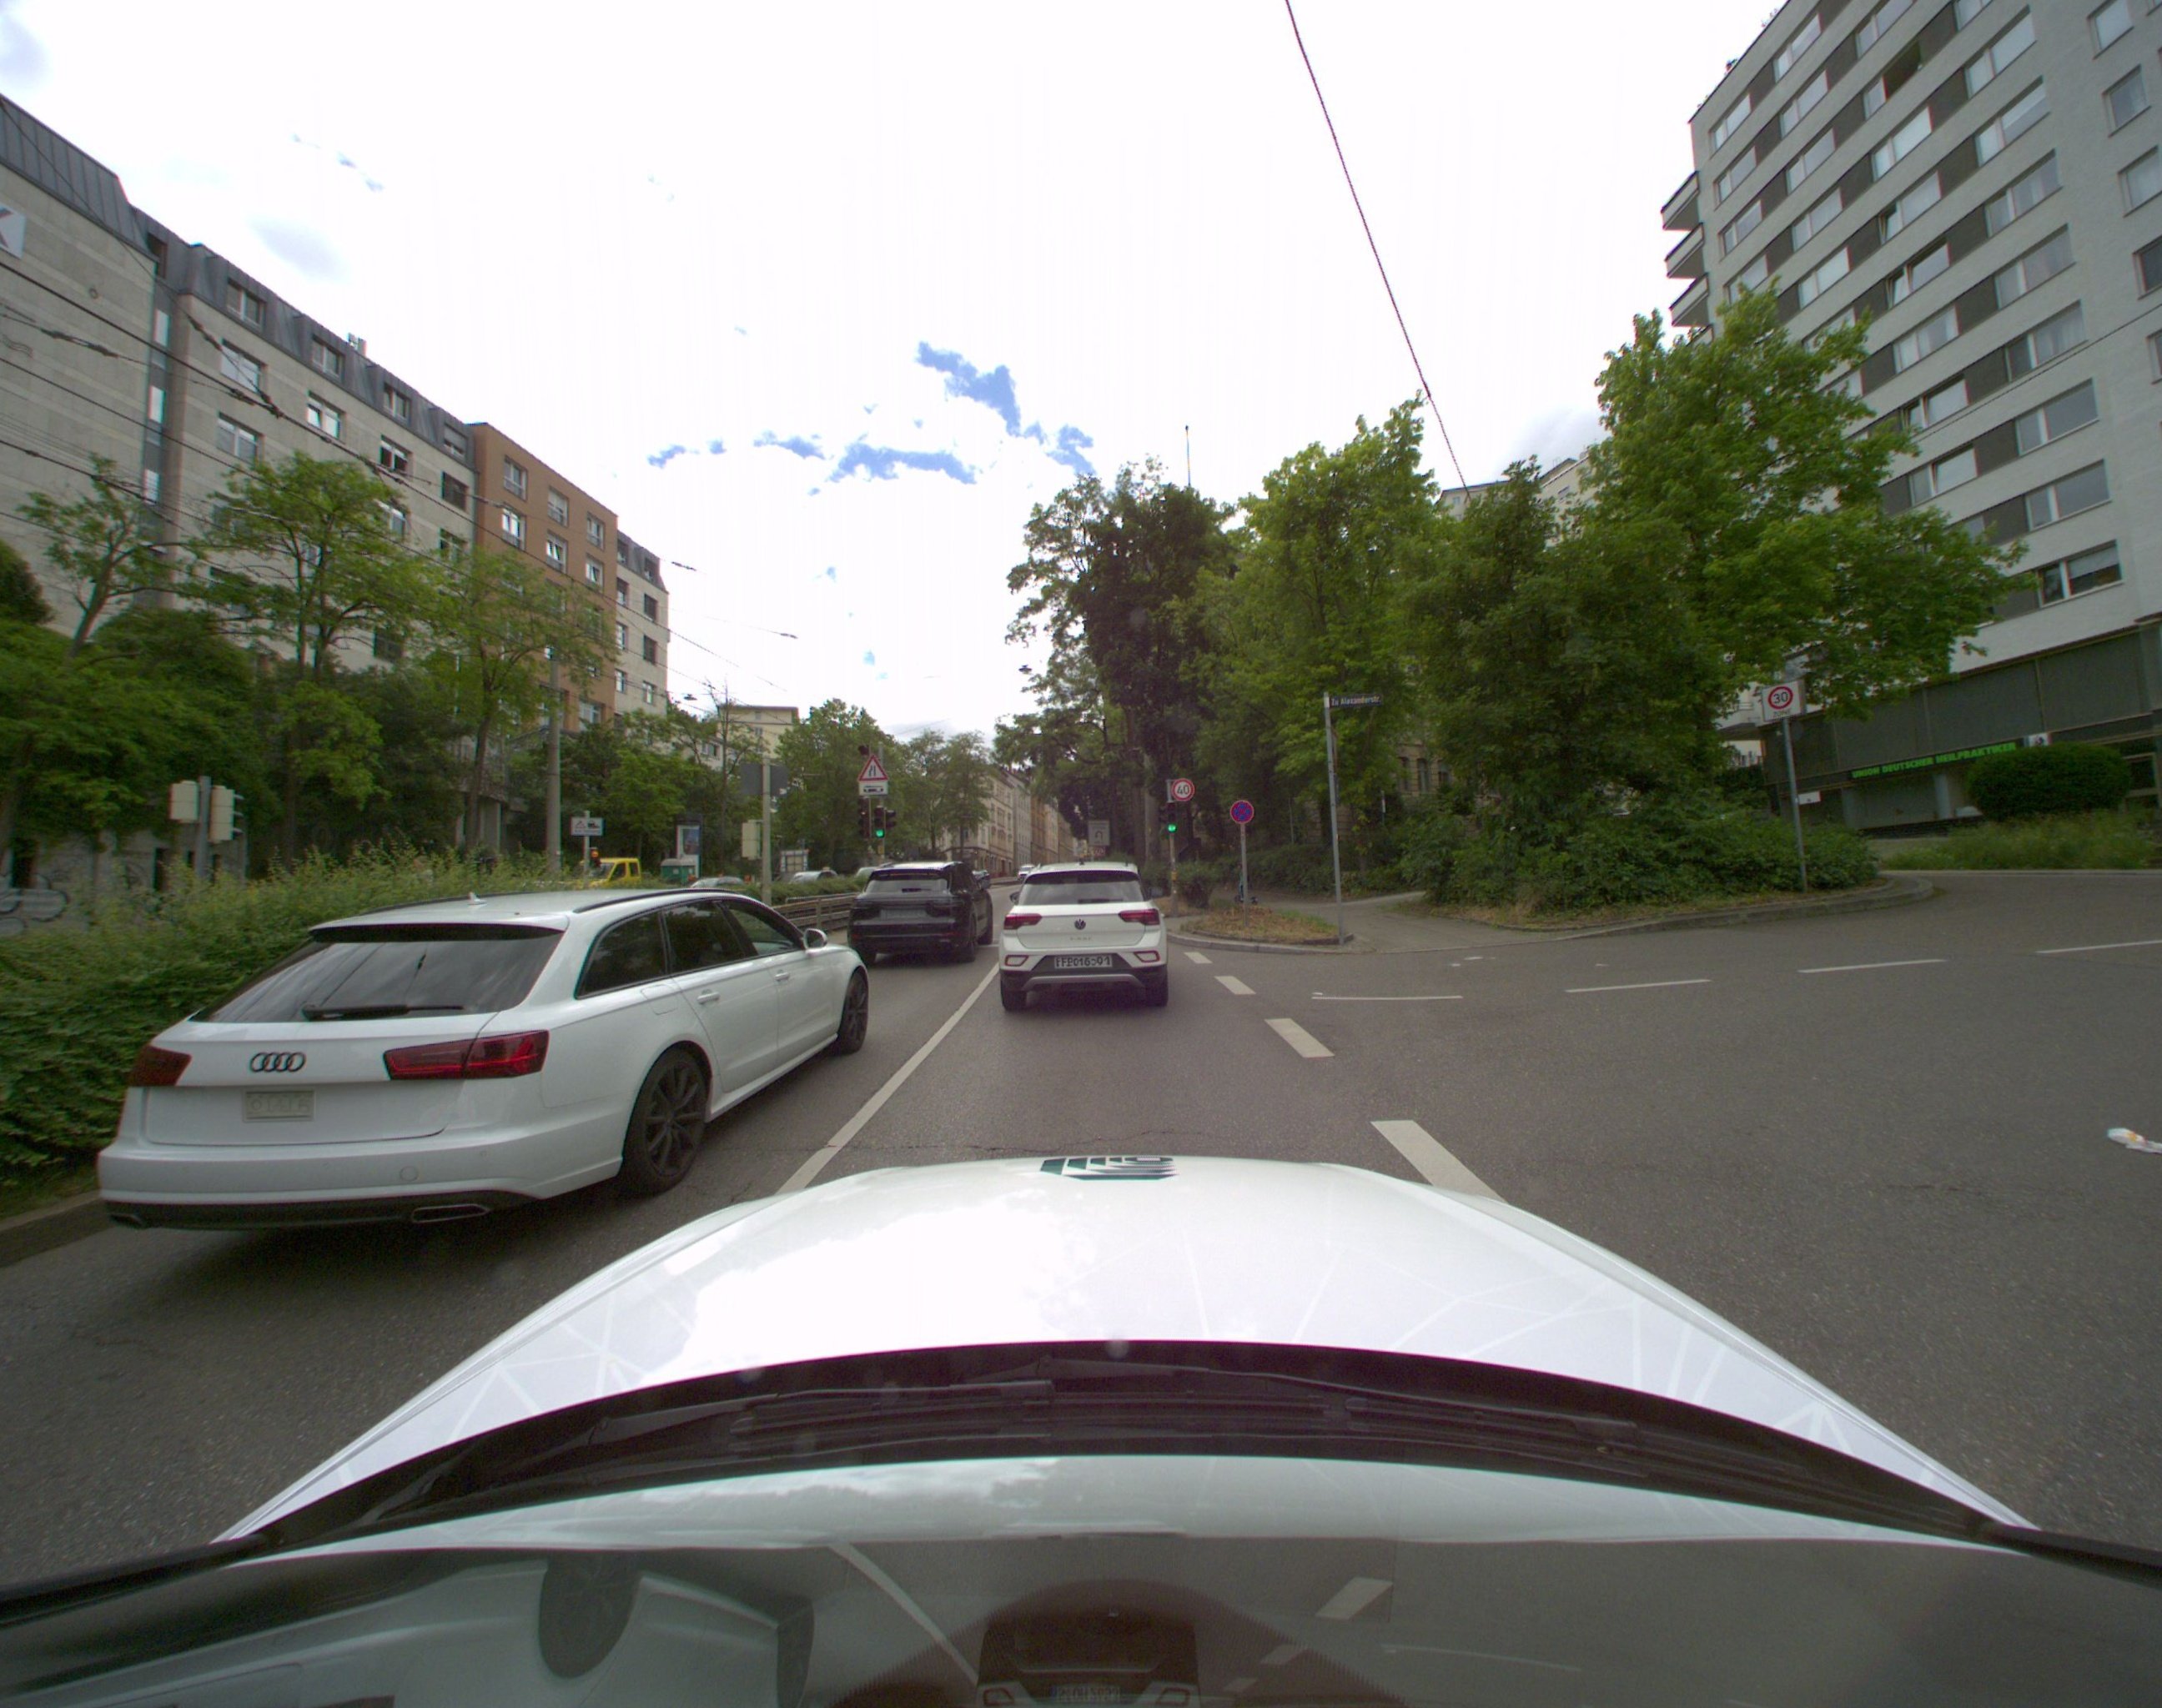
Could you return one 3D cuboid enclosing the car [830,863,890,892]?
[{"bbox_3d":[-13.611,1.401,50.450,1.983,1.605,4.618,-3,-1,7],"label":"car"}]

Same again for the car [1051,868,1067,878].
[{"bbox_3d":[-3.497,2.953,127.733,1.984,1.552,4.005,-3,-1,5],"label":"car"}]

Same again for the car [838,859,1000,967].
[{"bbox_3d":[-2.675,0.927,14.557,2.032,1.571,4.356,-2,-1,-1],"label":"car"}]

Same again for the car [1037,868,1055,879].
[{"bbox_3d":[-5.081,2.830,119.295,1.984,1.552,4.005,-3,-1,5],"label":"car"}]

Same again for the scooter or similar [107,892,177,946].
[{"bbox_3d":[-24.593,1.688,21.354,0.427,1.289,1.288,-2,0,-9],"label":"scooter or similar"}]

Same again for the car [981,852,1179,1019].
[{"bbox_3d":[0.040,0.819,9.896,1.872,1.555,4.001,-2,-1,1],"label":"car"}]

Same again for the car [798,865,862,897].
[{"bbox_3d":[-14.141,1.495,46.144,1.985,1.605,4.622,-2,-1,3],"label":"car"}]

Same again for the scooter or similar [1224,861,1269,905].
[{"bbox_3d":[4.766,0.821,23.559,0.631,1.210,1.550,-2,-1,-14],"label":"scooter or similar"}]

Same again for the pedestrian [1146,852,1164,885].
[{"bbox_3d":[3.859,0.766,42.563,0.770,1.703,0.784,-2,-1,-5],"label":"pedestrian"}]

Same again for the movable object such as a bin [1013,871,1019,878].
[{"bbox_3d":[-10.092,3.134,126.316,0.683,1.074,0.678,-2,-1,7],"label":"movable object such as a bin"}]

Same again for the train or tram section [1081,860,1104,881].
[{"bbox_3d":[2.317,3.094,154.881,2.868,3.726,14.880,0,-1,6],"label":"train or tram section"}]

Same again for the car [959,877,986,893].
[{"bbox_3d":[-10.510,2.979,79.192,1.758,1.408,4.087,-2,-1,4],"label":"car"}]

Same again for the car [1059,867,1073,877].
[{"bbox_3d":[-2.533,3.093,137.760,1.984,1.552,4.005,-3,-1,5],"label":"car"}]

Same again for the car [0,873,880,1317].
[{"bbox_3d":[-2.858,0.893,5.155,1.872,1.455,4.618,-2,-1,1],"label":"car"}]

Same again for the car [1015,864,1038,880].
[{"bbox_3d":[-7.003,2.257,104.811,1.937,1.946,5.011,-2,0,7],"label":"car"}]

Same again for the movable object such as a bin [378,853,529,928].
[{"bbox_3d":[-22.005,1.211,28.791,1.924,2.468,4.103,0,0,5],"label":"movable object such as a bin"}]

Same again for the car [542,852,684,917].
[{"bbox_3d":[-20.663,1.274,36.431,2.146,2.594,6.345,-2,-1,5],"label":"car"}]

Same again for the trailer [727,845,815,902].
[{"bbox_3d":[-16.998,1.045,44.998,2.007,2.973,5.603,-1,-1,9],"label":"trailer"}]
